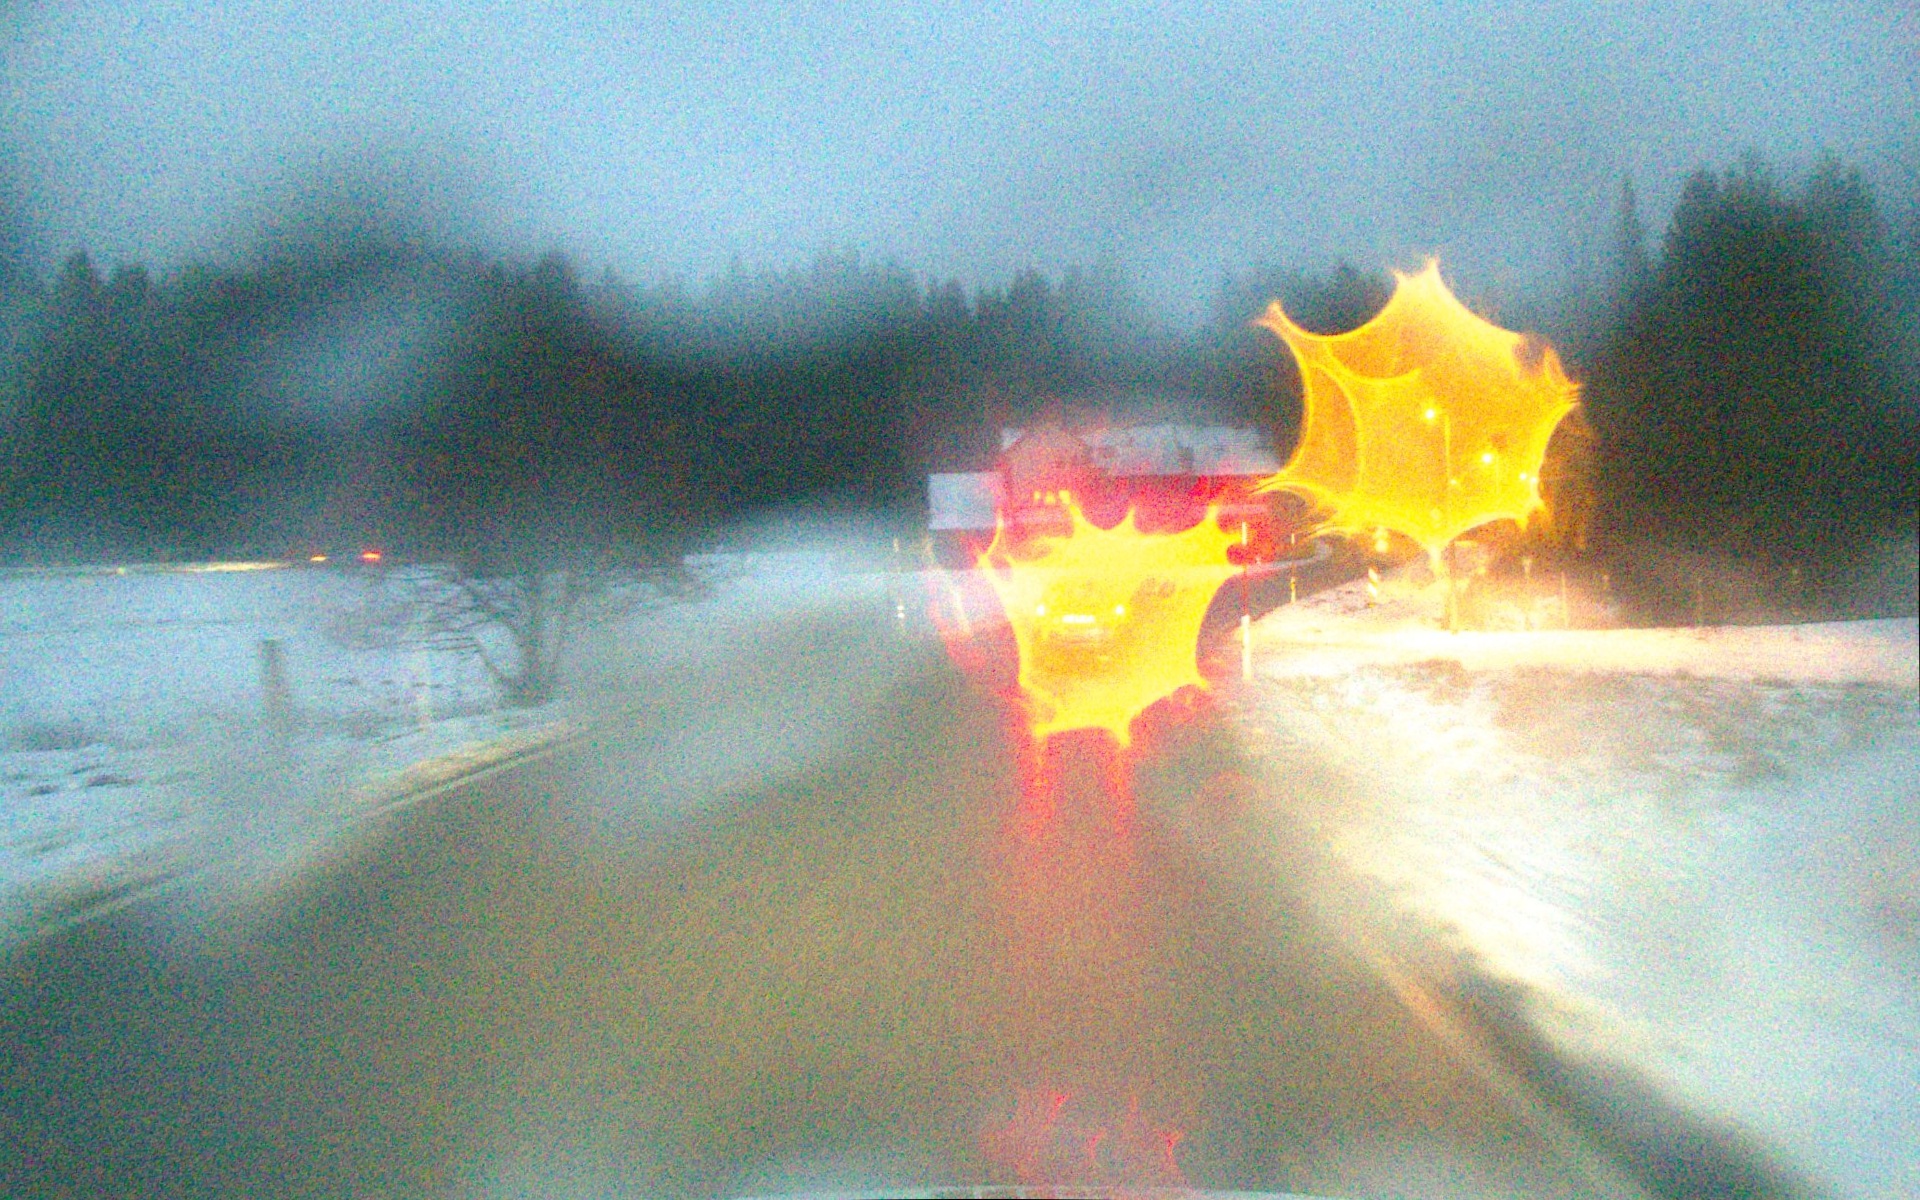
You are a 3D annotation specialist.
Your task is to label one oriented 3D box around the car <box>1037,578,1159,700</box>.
[{"bbox_3d":[2.243,0.606,27.692,1.784,1.828,3.578,-3,0,2],"label":"car"}]
